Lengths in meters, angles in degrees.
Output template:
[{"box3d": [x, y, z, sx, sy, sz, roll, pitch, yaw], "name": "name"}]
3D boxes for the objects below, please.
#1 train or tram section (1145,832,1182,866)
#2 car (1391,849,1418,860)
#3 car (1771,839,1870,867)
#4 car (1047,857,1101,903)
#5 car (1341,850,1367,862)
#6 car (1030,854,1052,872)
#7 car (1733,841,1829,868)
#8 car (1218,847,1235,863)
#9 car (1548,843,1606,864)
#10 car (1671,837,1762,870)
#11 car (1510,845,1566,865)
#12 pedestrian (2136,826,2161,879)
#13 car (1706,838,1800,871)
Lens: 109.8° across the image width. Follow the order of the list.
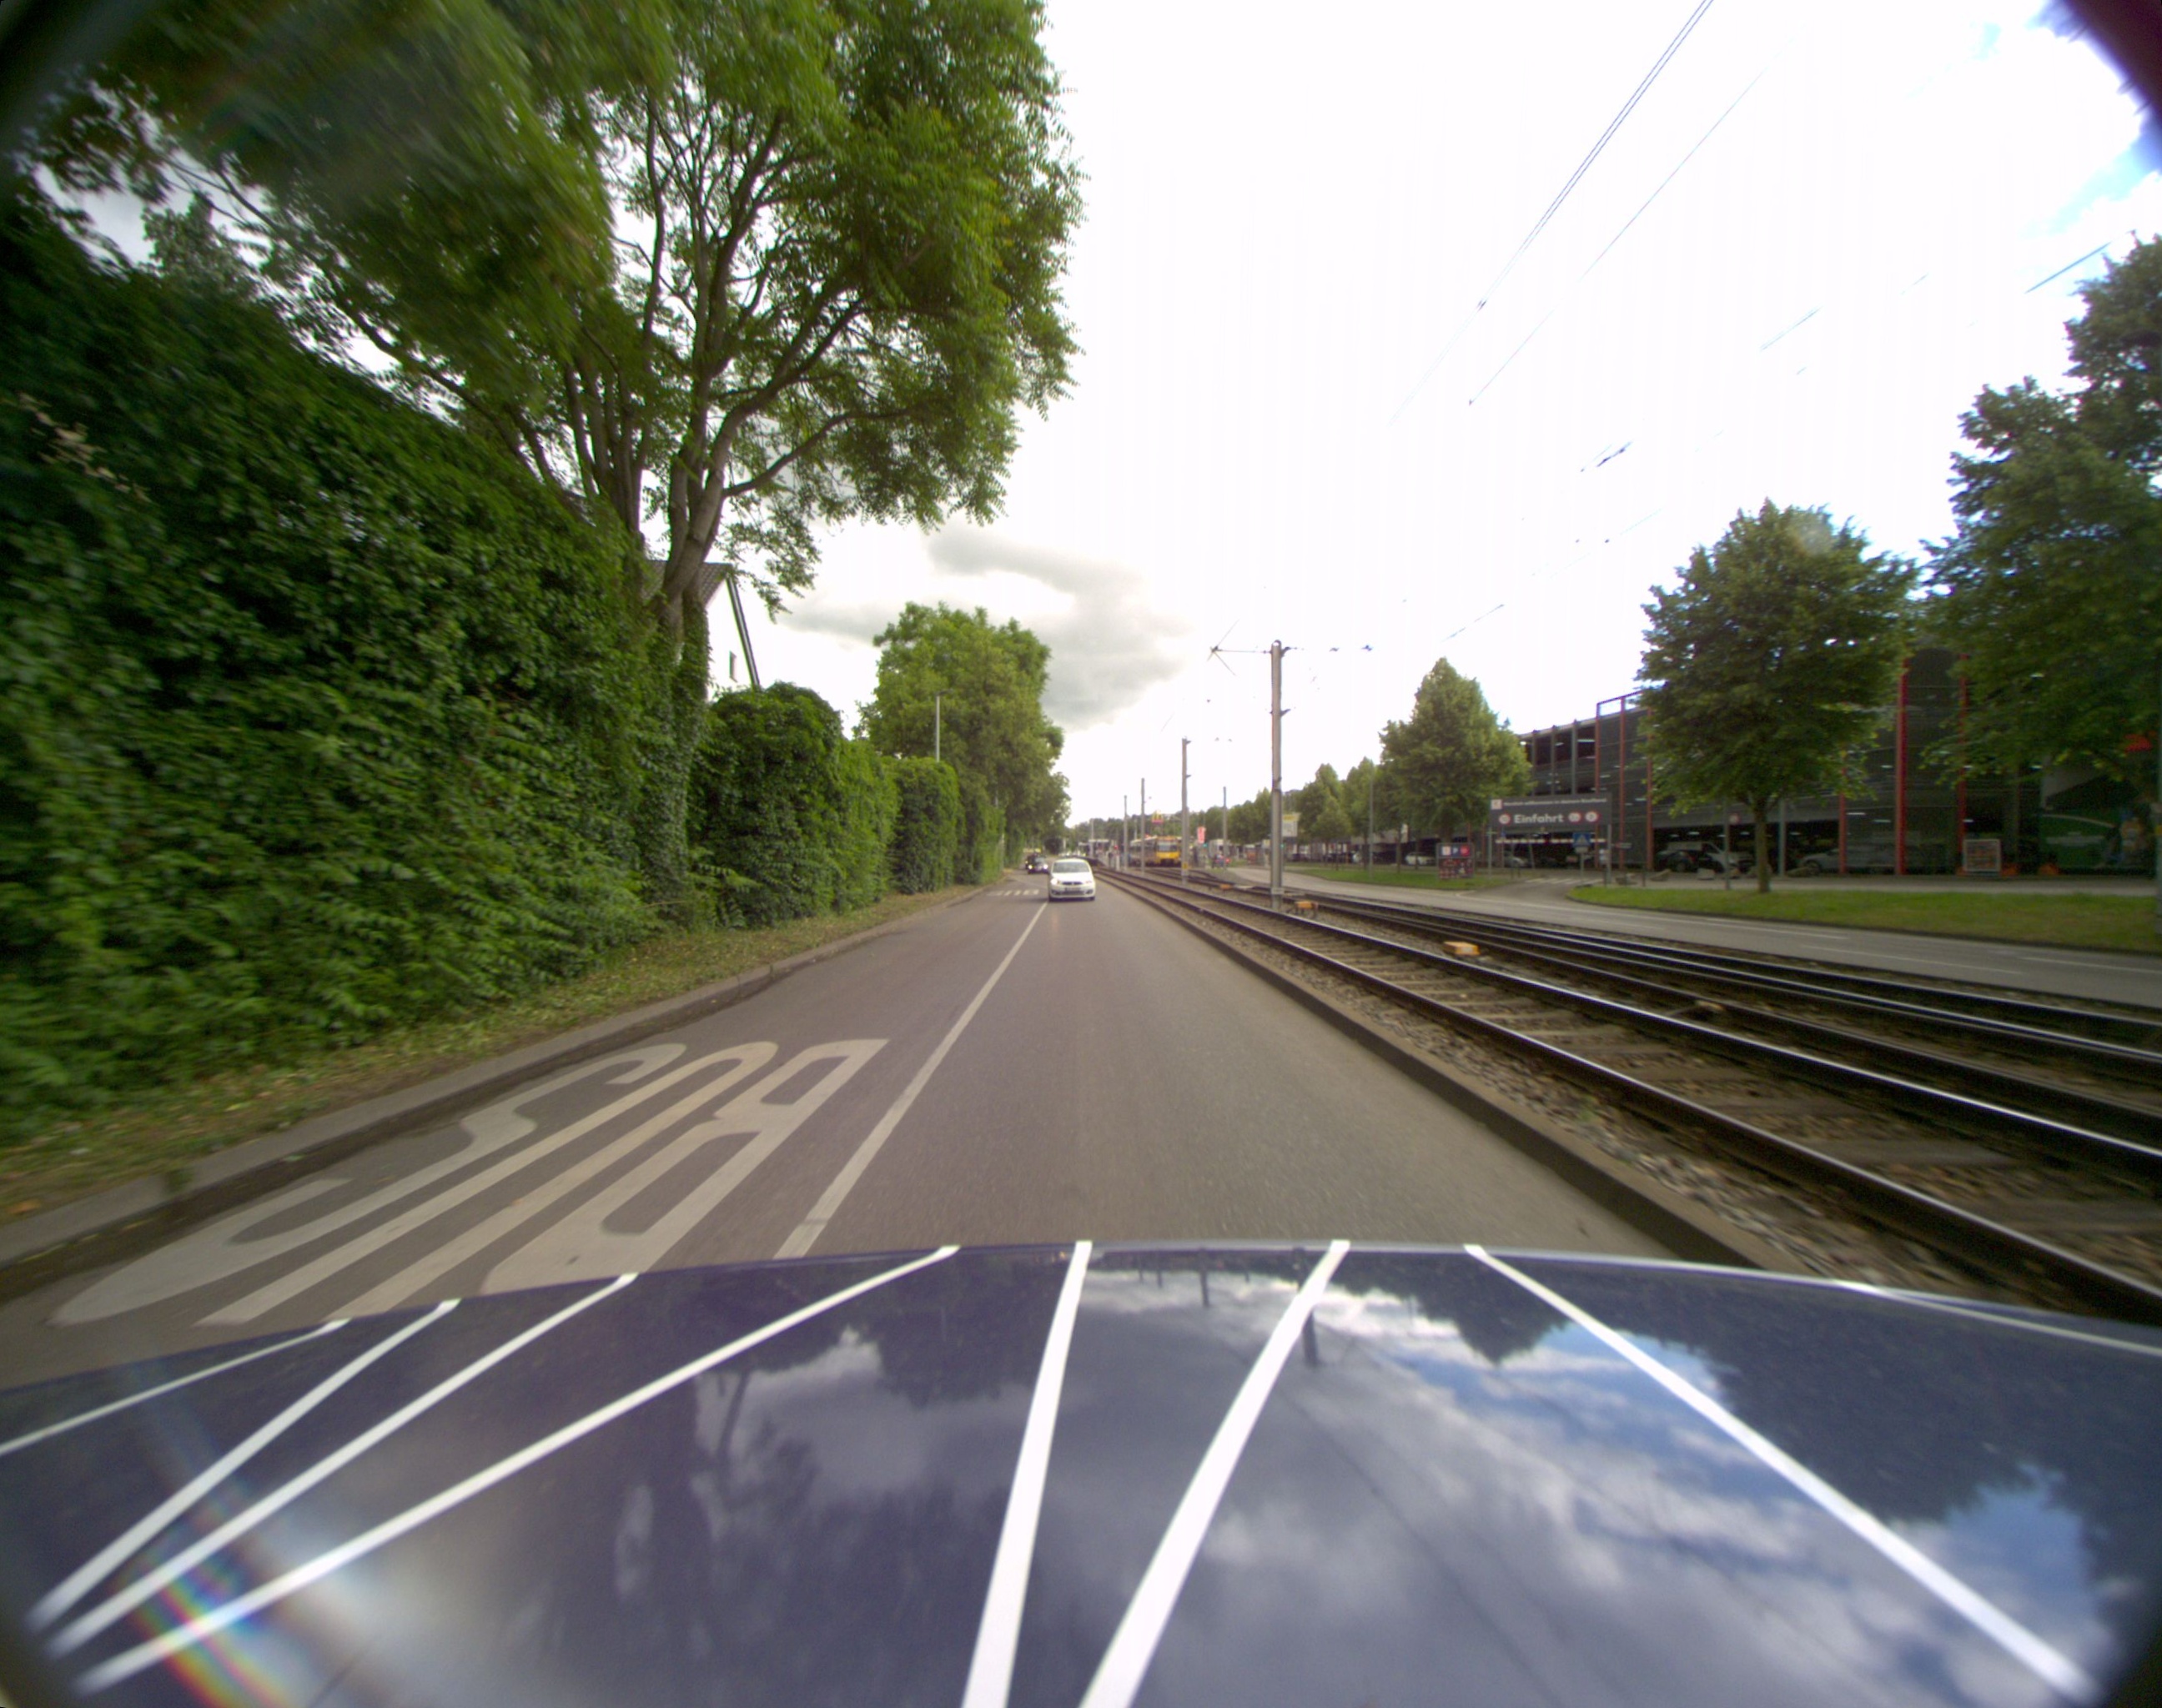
[{"box3d": [9.764, -0.602, 91.351, 2.778, 3.753, 13.785, -1, 0, 0], "name": "train or tram section"}, {"box3d": [46.281, 0.062, 108.777, 1.999, 1.618, 4.404, -1, 0, -2], "name": "car"}, {"box3d": [47.385, -0.086, 48.847, 1.999, 1.708, 4.404, -1, 0, -2], "name": "car"}, {"box3d": [-0.324, 0.896, 27.961, 1.765, 1.469, 4.029, -2, 0, -3], "name": "car"}, {"box3d": [38.889, 0.234, 108.453, 1.999, 1.618, 4.404, -1, 0, -2], "name": "car"}, {"box3d": [-3.606, 0.786, 69.125, 1.714, 1.586, 4.000, -1, 0, 2], "name": "car"}, {"box3d": [44.714, 0.030, 48.662, 1.999, 1.640, 4.404, -1, 0, -2], "name": "car"}, {"box3d": [19.674, 0.121, 102.818, 1.997, 2.002, 4.002, -1, 0, 7], "name": "car"}, {"box3d": [42.203, -0.019, 64.791, 1.999, 1.689, 4.404, -1, 0, -2], "name": "car"}, {"box3d": [40.147, -0.046, 48.132, 1.999, 2.002, 4.404, -1, 0, -2], "name": "car"}, {"box3d": [38.843, 0.091, 64.708, 1.999, 1.618, 4.404, -1, 0, -2], "name": "car"}, {"box3d": [38.933, -0.049, 27.598, 0.584, 1.915, 0.653, -1, 1, -32], "name": "pedestrian"}, {"box3d": [42.452, 0.019, 48.176, 1.999, 2.002, 4.404, -1, 0, -2], "name": "car"}]
